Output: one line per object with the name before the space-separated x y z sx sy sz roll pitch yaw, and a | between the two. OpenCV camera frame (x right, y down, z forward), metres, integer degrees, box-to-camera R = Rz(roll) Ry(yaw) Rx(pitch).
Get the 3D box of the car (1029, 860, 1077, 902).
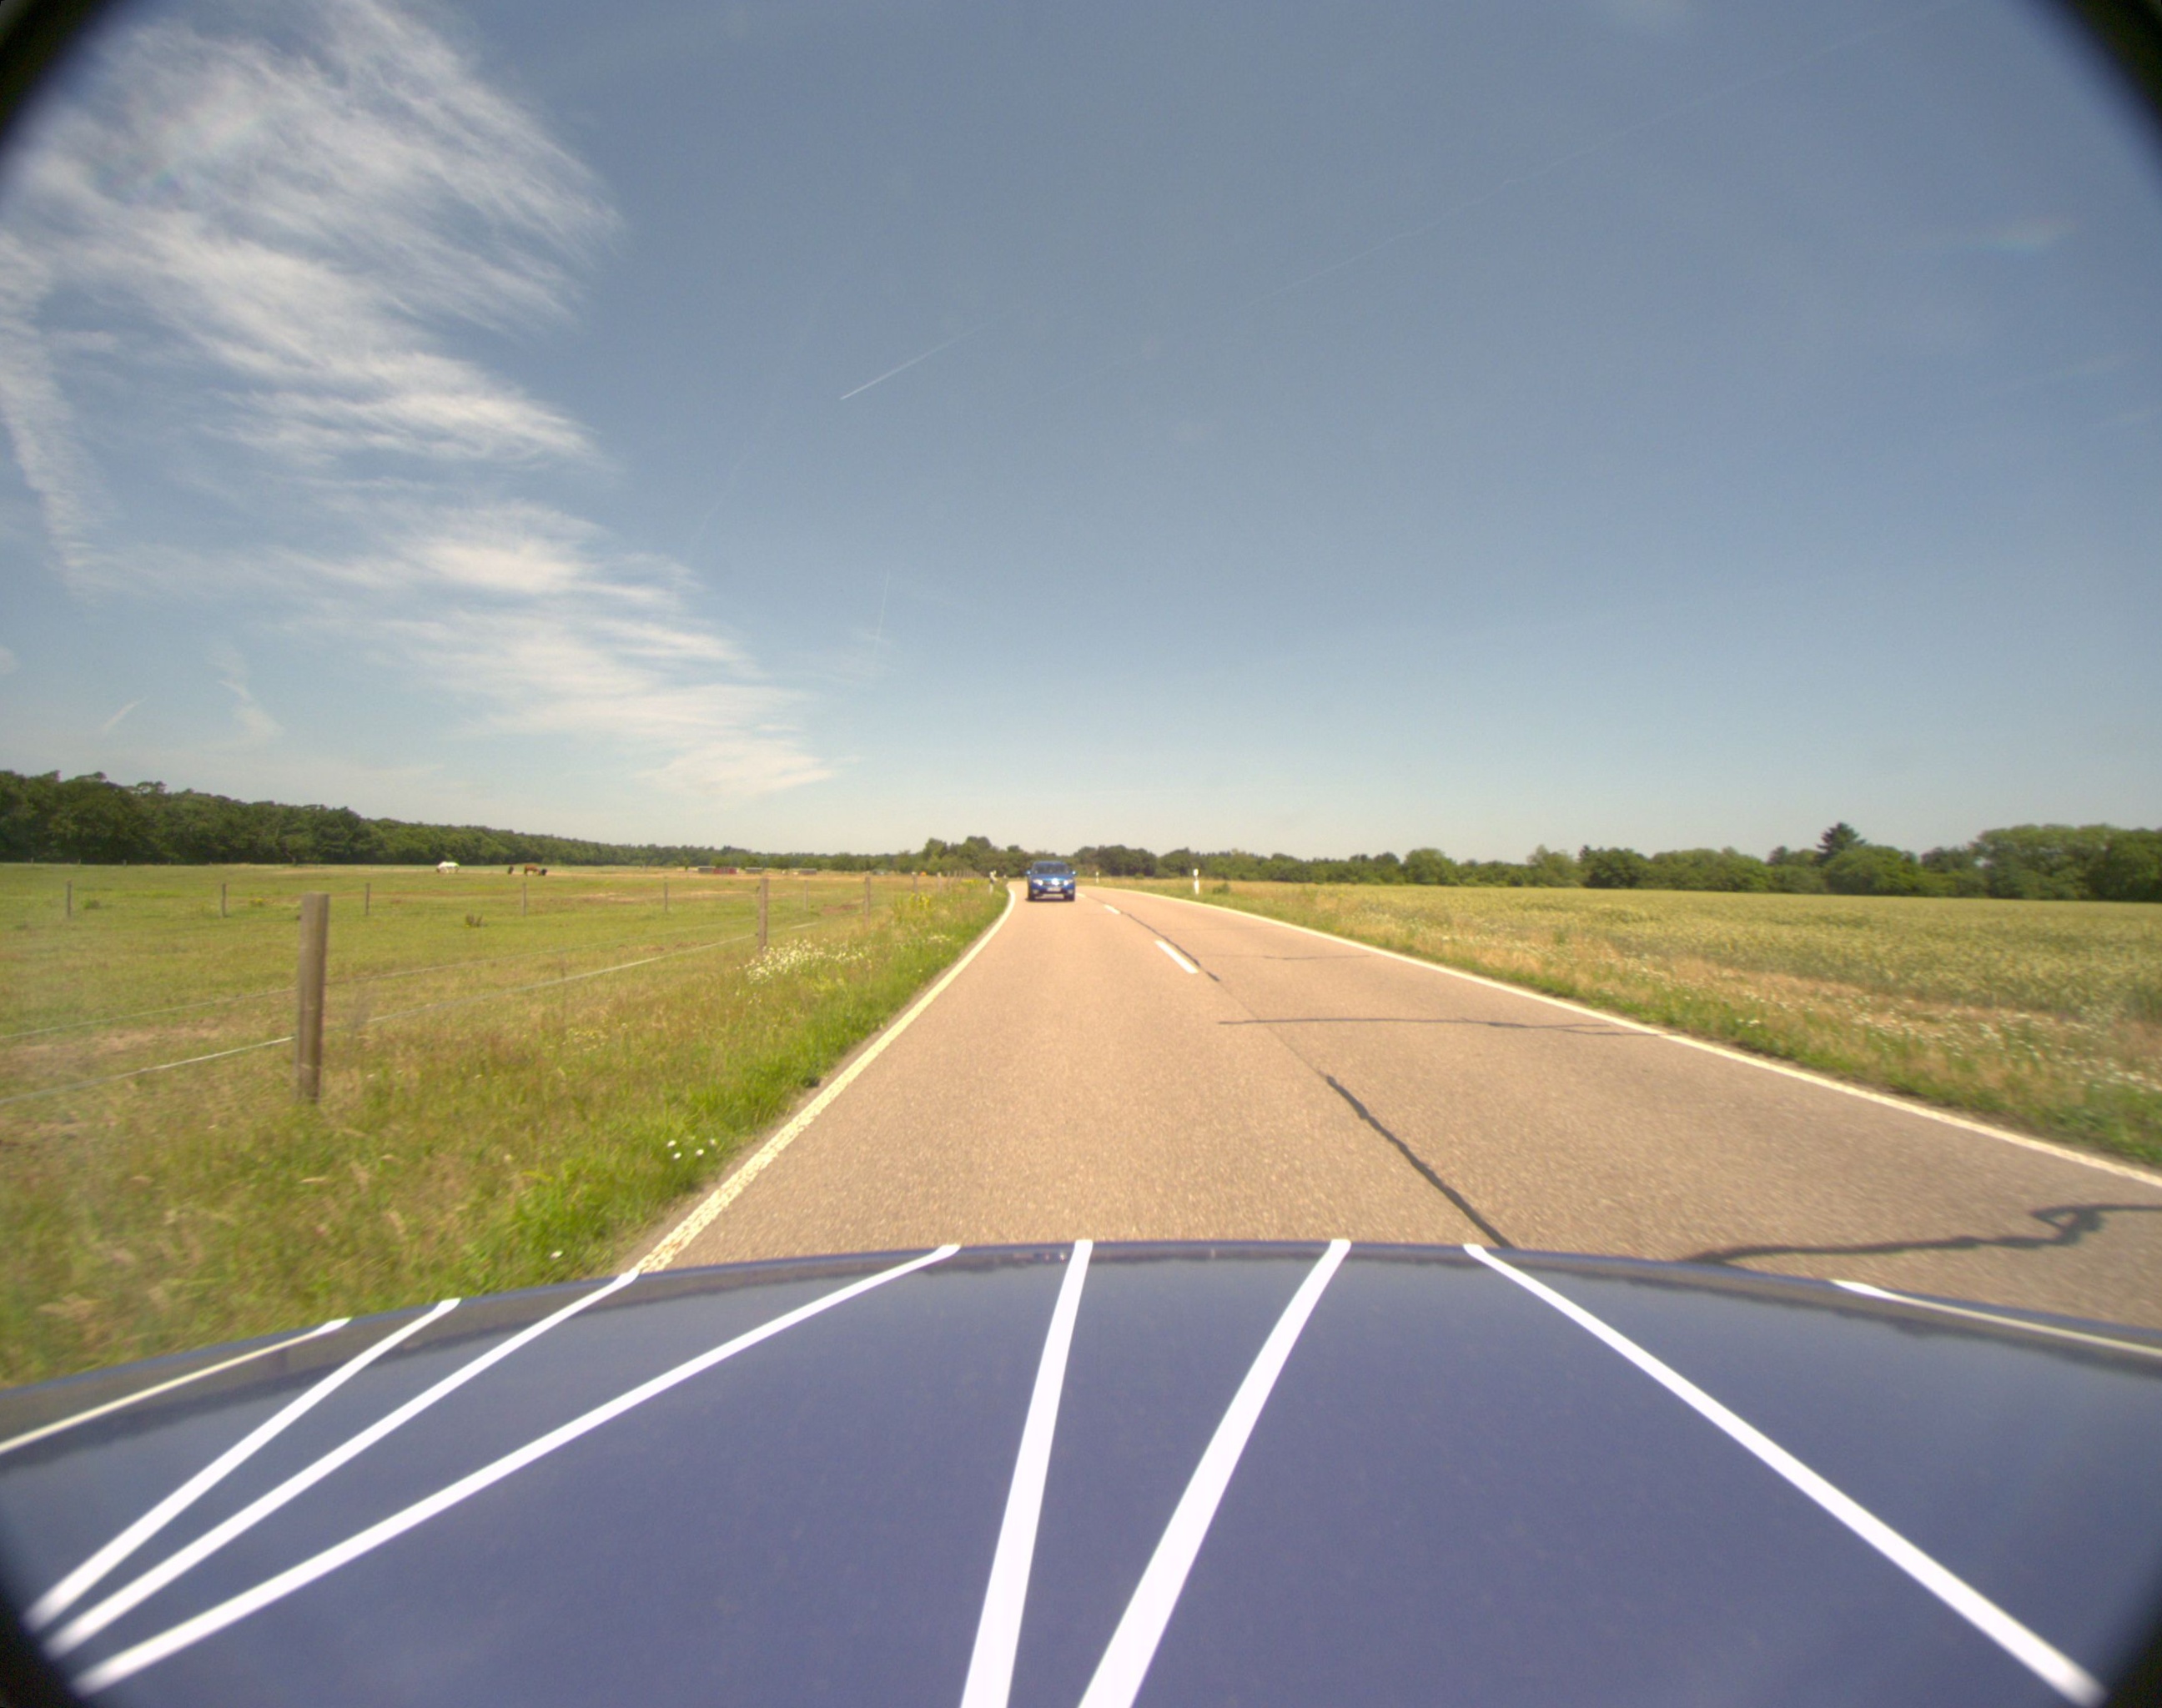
car | -1.173 1.030 30.236 1.735 1.571 3.999 -1 -1 -5
